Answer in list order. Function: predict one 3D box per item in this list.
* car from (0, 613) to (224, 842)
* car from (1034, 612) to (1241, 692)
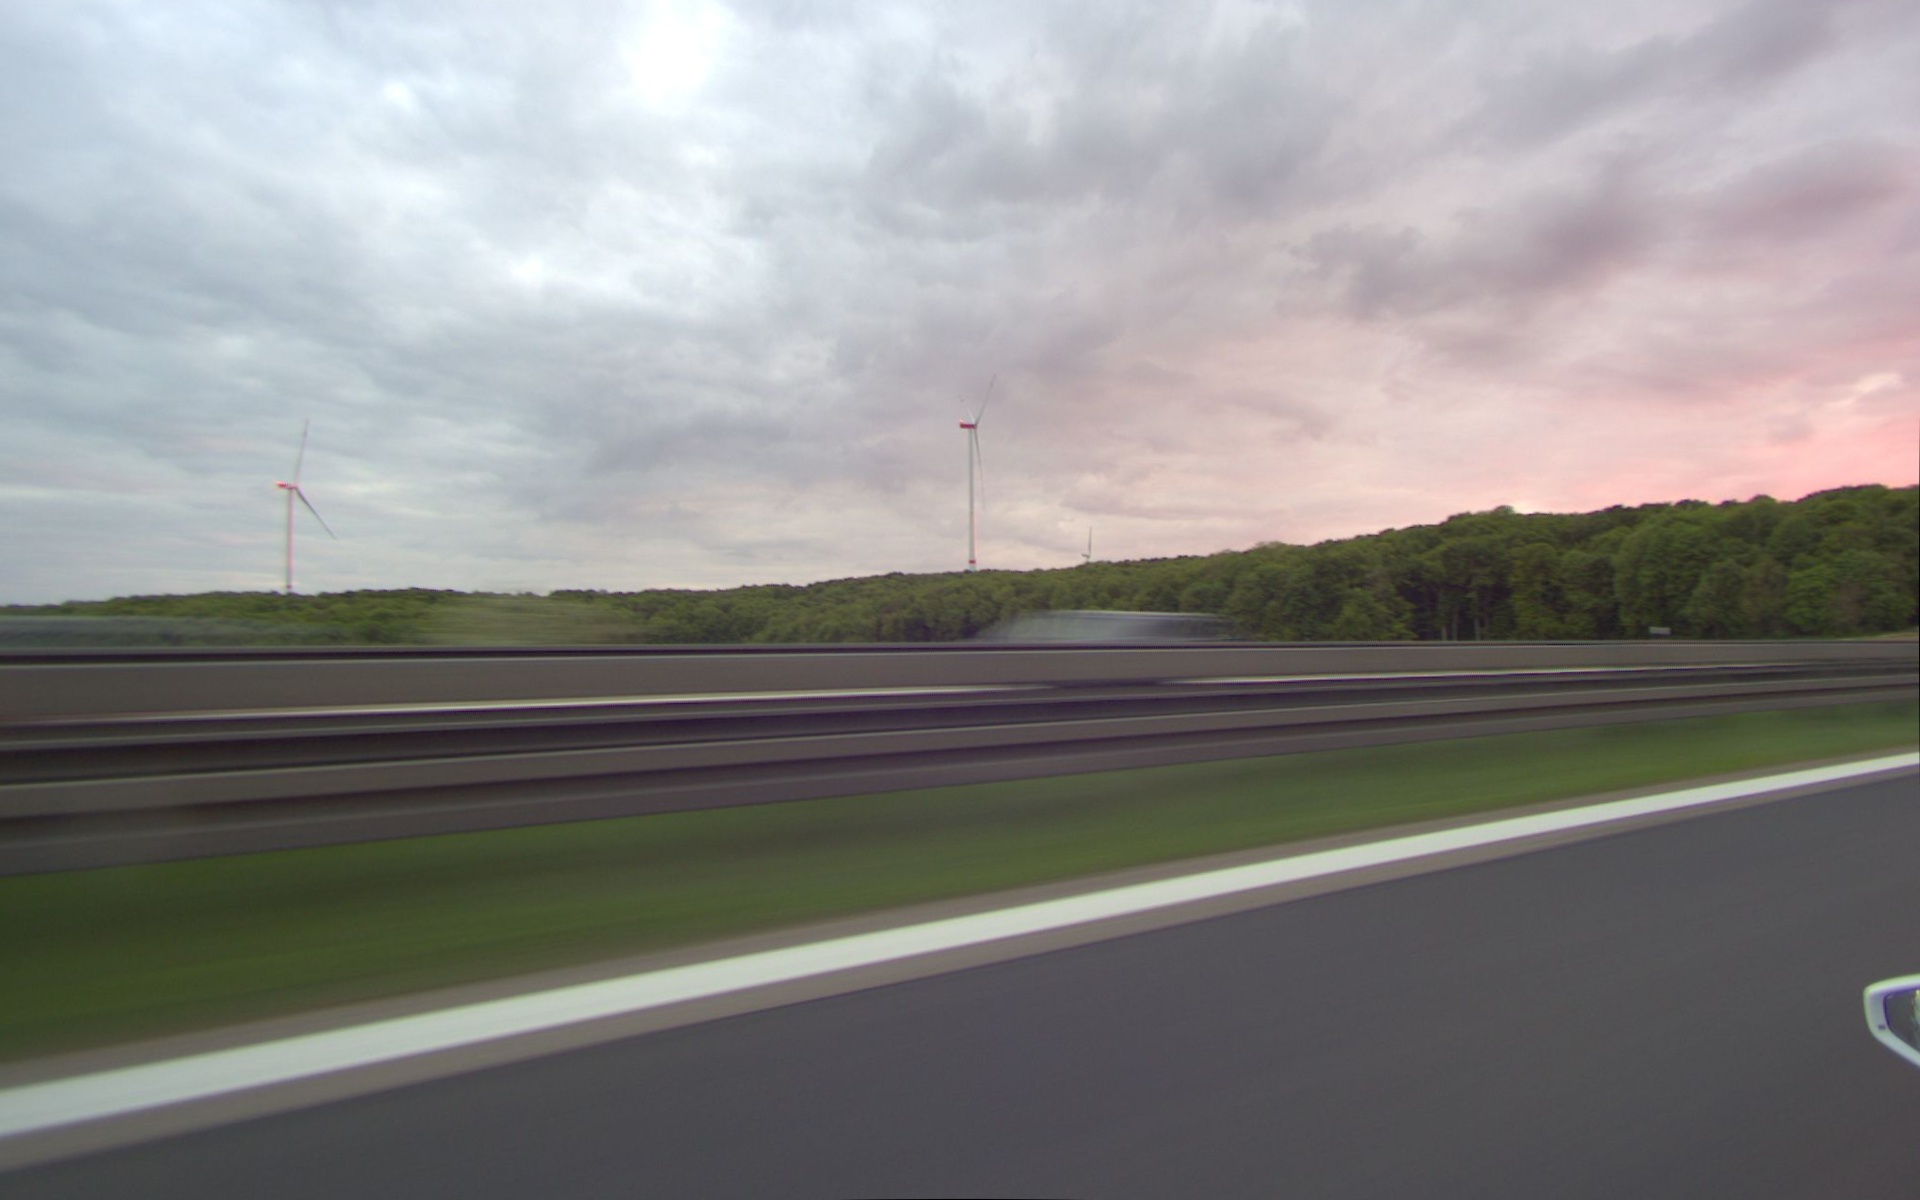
[{"bbox_3d":[-7.272,0.792,6.250,4.201,1.411,1.597,1,-2,-33],"label":"car"},{"bbox_3d":[3.188,0.933,17.984,3.456,1.304,1.576,1,-5,-31],"label":"car"}]
